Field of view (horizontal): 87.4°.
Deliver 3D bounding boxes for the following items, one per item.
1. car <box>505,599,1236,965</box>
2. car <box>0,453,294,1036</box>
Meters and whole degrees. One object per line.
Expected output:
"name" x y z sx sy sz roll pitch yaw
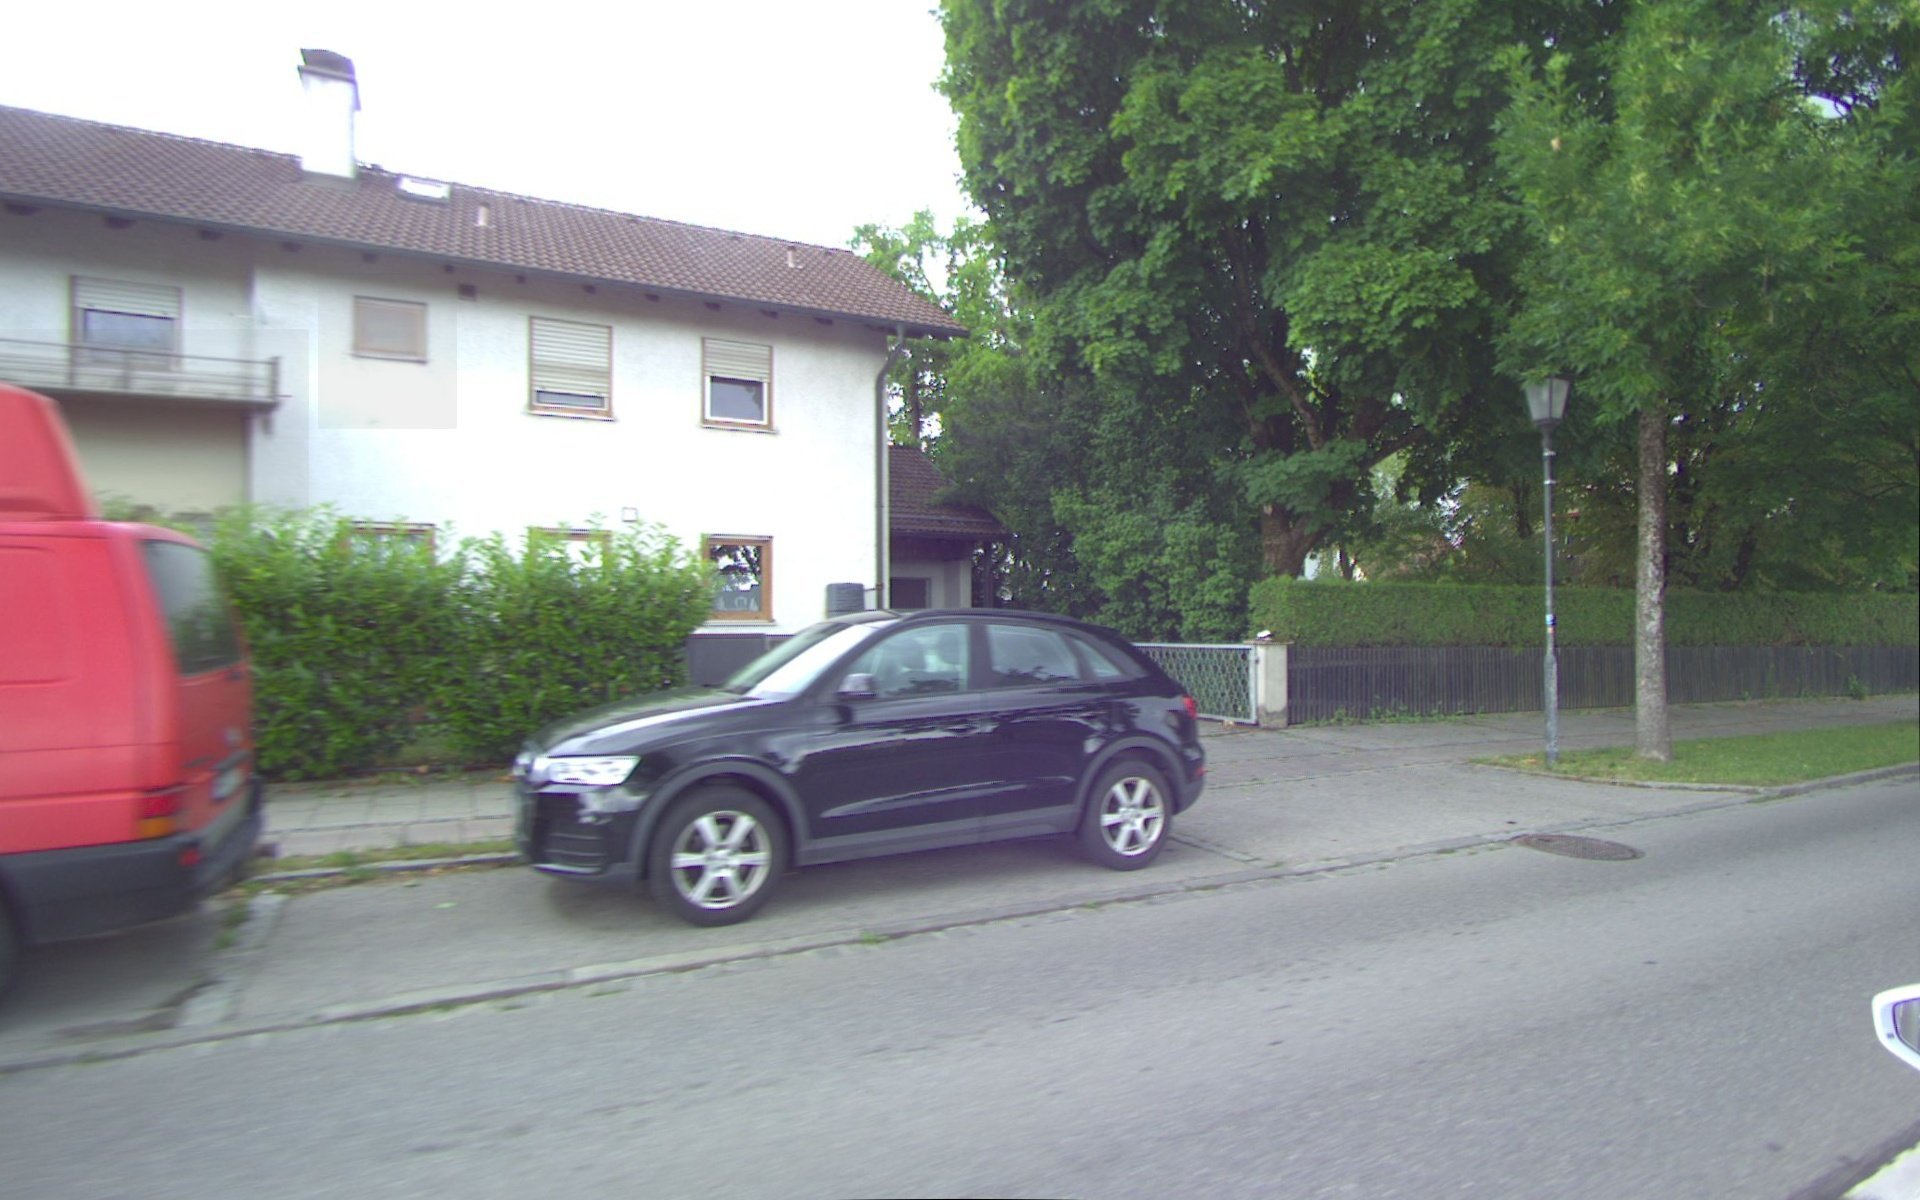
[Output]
"car" -0.479 0.823 6.233 4.184 1.619 1.764 0 0 -28
"car" -5.423 0.501 3.492 4.982 2.057 1.823 1 -1 -28
